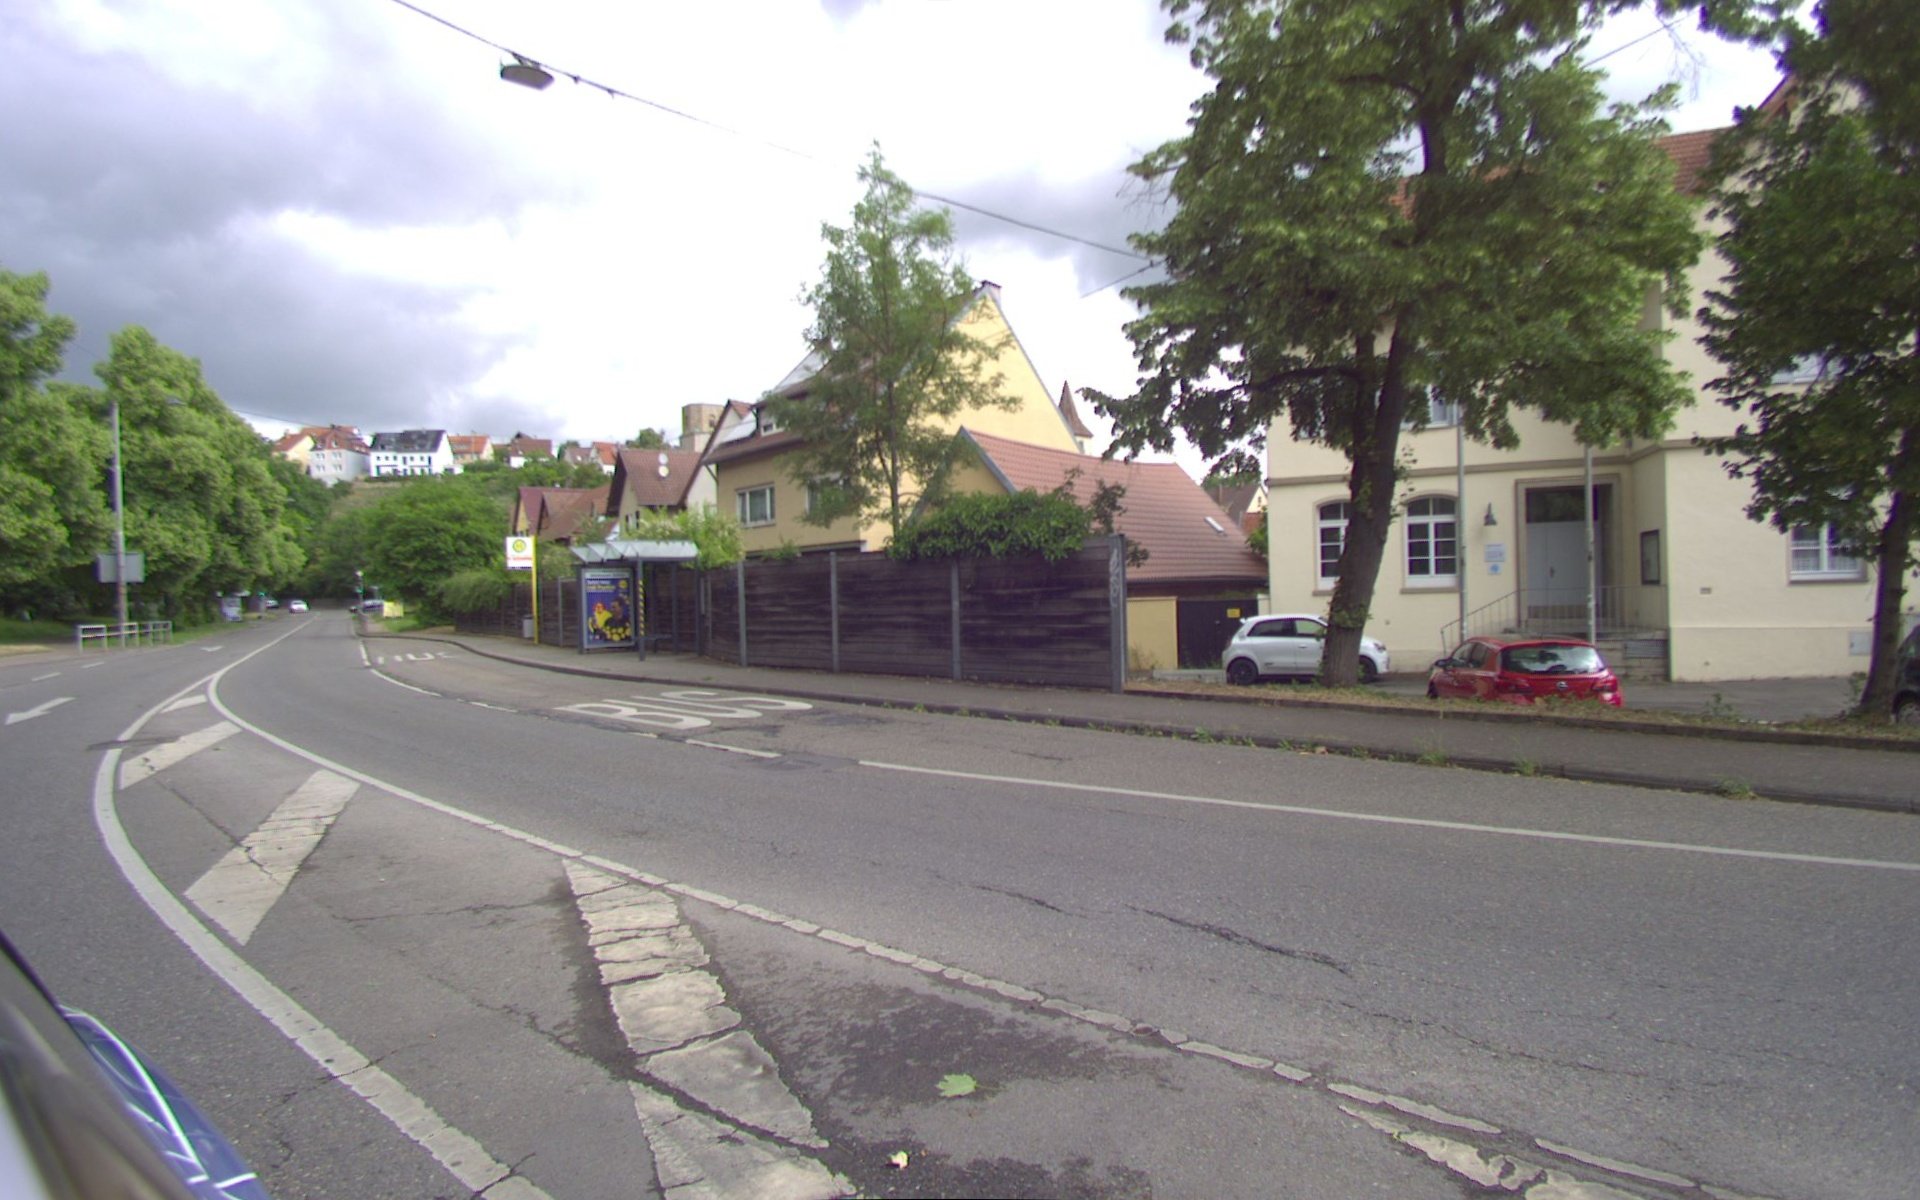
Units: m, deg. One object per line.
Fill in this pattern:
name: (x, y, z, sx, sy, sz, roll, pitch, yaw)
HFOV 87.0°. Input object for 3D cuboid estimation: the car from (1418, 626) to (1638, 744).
car: (8.146, 1.145, 14.887, 1.644, 1.393, 3.708, -1, 0, 10)

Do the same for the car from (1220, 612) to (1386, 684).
car: (7.719, 1.055, 22.895, 3.411, 1.490, 1.600, -1, 0, 21)

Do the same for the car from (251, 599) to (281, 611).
car: (-102.516, 0.760, 149.407, 3.978, 1.630, 1.983, -1, 0, 26)

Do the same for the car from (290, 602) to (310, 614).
car: (-83.675, 1.006, 128.314, 1.737, 1.536, 3.689, -1, 0, -40)

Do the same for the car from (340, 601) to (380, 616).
car: (-68.753, 0.976, 116.009, 1.765, 1.596, 3.631, -1, 0, 43)

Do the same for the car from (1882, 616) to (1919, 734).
car: (12.633, 0.932, 11.314, 1.626, 1.450, 3.567, -1, 0, 7)
